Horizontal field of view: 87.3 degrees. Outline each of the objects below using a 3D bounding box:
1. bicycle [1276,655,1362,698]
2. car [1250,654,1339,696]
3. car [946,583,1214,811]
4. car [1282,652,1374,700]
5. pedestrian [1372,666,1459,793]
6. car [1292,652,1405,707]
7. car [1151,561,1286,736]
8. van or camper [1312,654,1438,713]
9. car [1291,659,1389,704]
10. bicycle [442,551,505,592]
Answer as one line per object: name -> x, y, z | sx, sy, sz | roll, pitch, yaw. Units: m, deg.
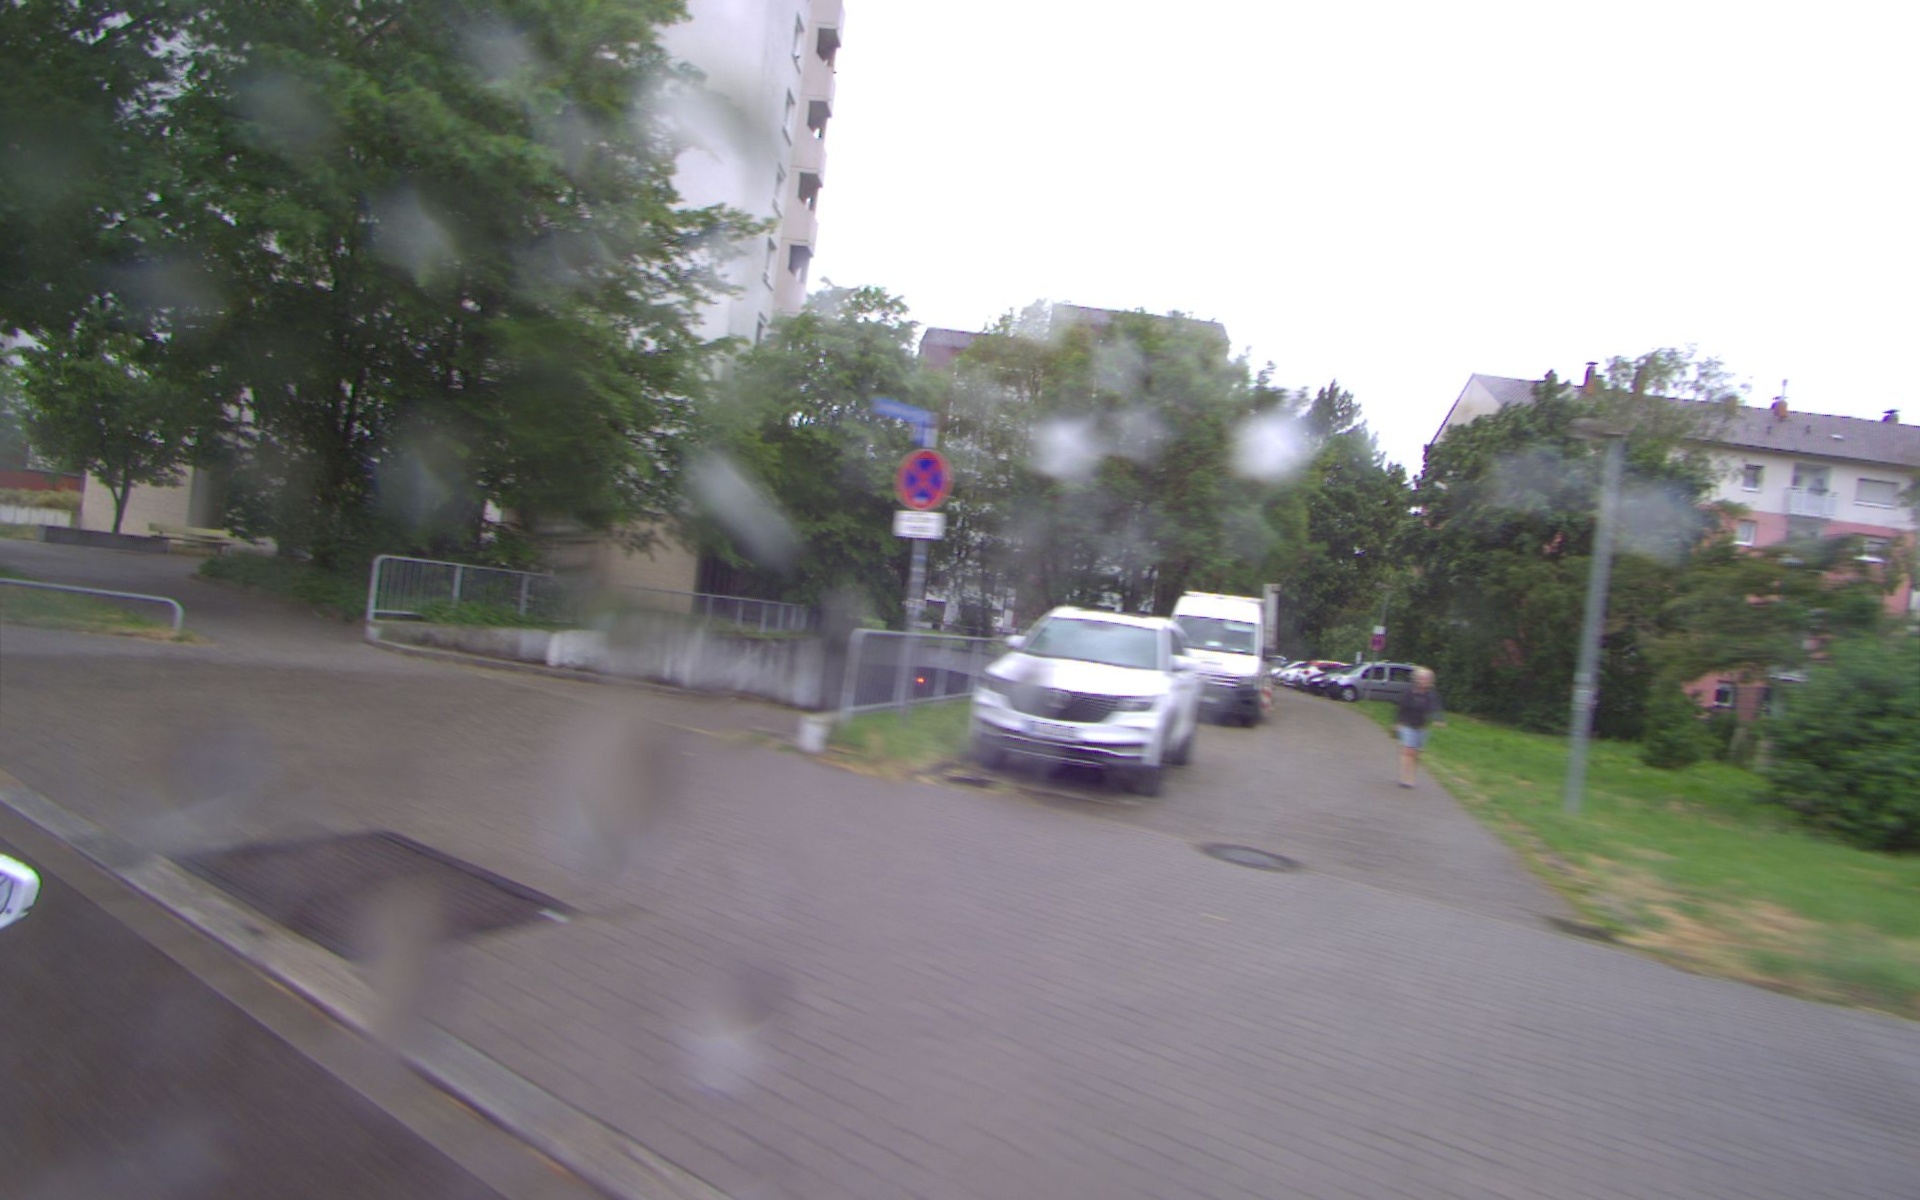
bicycle -> 18.704, 3.998, 52.529 | 3.924, 1.651, 1.180 | 8, -1, 11
car -> 18.374, 4.105, 55.424 | 4.171, 1.699, 1.885 | 8, 0, 5
car -> 1.616, 0.973, 11.331 | 1.962, 1.766, 4.821 | 7, -1, 17
car -> 18.326, 3.792, 50.207 | 3.924, 1.741, 1.725 | 8, -2, 12
pedestrian -> 6.331, 1.774, 14.021 | 0.799, 1.589, 0.840 | 7, 0, 16
car -> 17.211, 3.503, 44.739 | 4.171, 1.799, 1.885 | 8, -1, 5
car -> 5.697, 1.049, 21.686 | 2.090, 2.999, 6.079 | 7, -1, 17
van or camper -> 17.423, 3.487, 42.416 | 4.334, 1.792, 1.908 | 8, 0, 5
car -> 17.820, 3.839, 47.370 | 3.924, 1.470, 2.004 | 8, -2, 12
bicycle -> -13.560, -0.782, 28.036 | 1.439, 0.937, 0.408 | 7, 1, -5
